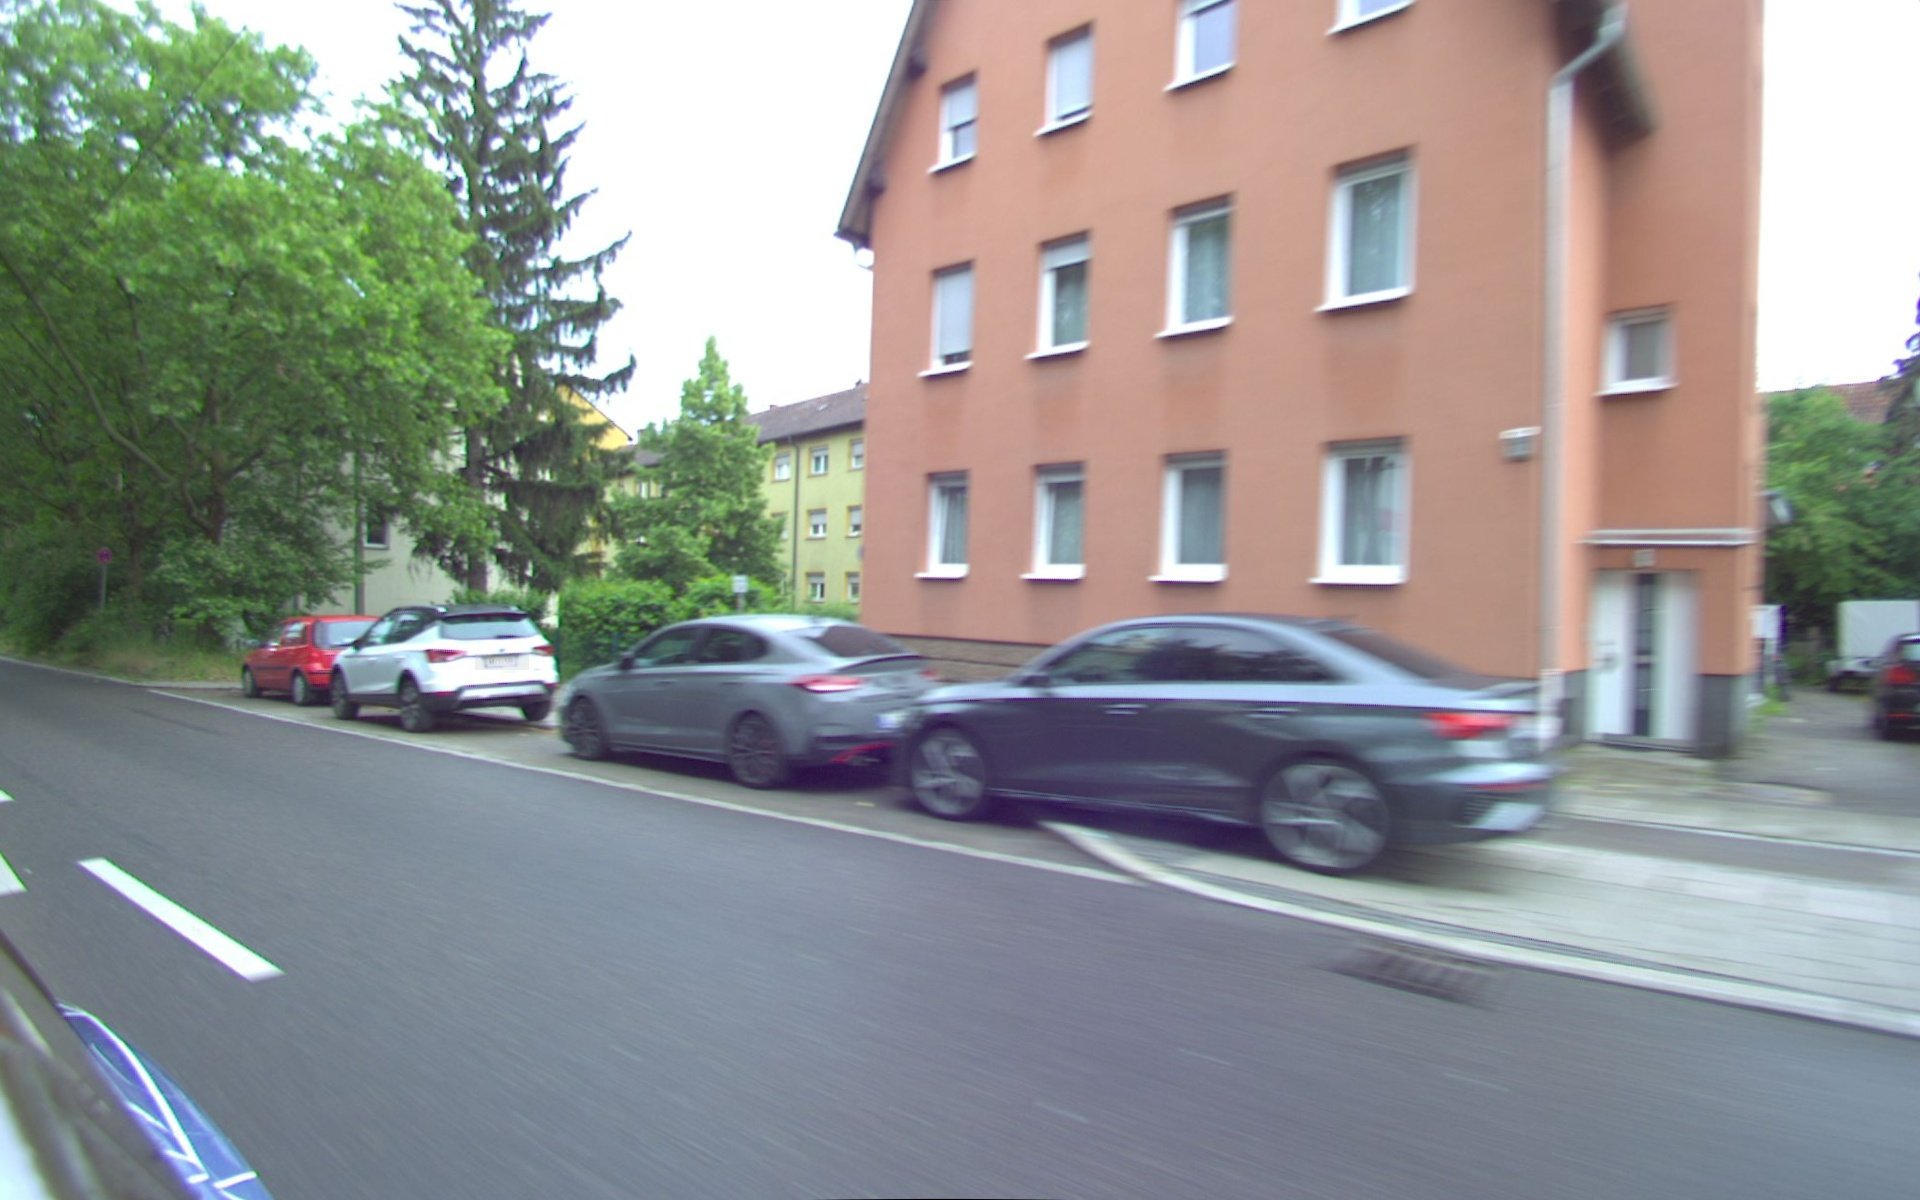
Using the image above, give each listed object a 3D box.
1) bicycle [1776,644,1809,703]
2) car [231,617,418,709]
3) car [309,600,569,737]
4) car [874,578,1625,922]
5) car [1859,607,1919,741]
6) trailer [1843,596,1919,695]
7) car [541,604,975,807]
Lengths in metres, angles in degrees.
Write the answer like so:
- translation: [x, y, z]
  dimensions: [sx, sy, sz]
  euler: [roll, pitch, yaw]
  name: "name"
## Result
- translation: [16.981, 1.480, 20.632]
  dimensions: [0.414, 1.124, 1.316]
  euler: [-2, -2, 43]
  name: "bicycle"
- translation: [-10.899, 0.988, 17.268]
  dimensions: [3.755, 1.384, 1.622]
  euler: [-1, -1, 39]
  name: "car"
- translation: [-7.064, 0.882, 13.552]
  dimensions: [4.115, 1.554, 1.673]
  euler: [-2, -5, 41]
  name: "car"
- translation: [1.549, 0.658, 6.488]
  dimensions: [4.357, 1.493, 1.618]
  euler: [0, 1, 42]
  name: "car"
- translation: [13.675, 0.946, 13.712]
  dimensions: [2.001, 1.669, 3.941]
  euler: [-2, -2, 45]
  name: "car"
- translation: [20.915, 0.993, 22.819]
  dimensions: [1.410, 2.101, 3.059]
  euler: [-1, -2, 40]
  name: "trailer"
- translation: [-2.076, 0.829, 9.548]
  dimensions: [4.383, 1.493, 1.725]
  euler: [-1, -2, 41]
  name: "car"
